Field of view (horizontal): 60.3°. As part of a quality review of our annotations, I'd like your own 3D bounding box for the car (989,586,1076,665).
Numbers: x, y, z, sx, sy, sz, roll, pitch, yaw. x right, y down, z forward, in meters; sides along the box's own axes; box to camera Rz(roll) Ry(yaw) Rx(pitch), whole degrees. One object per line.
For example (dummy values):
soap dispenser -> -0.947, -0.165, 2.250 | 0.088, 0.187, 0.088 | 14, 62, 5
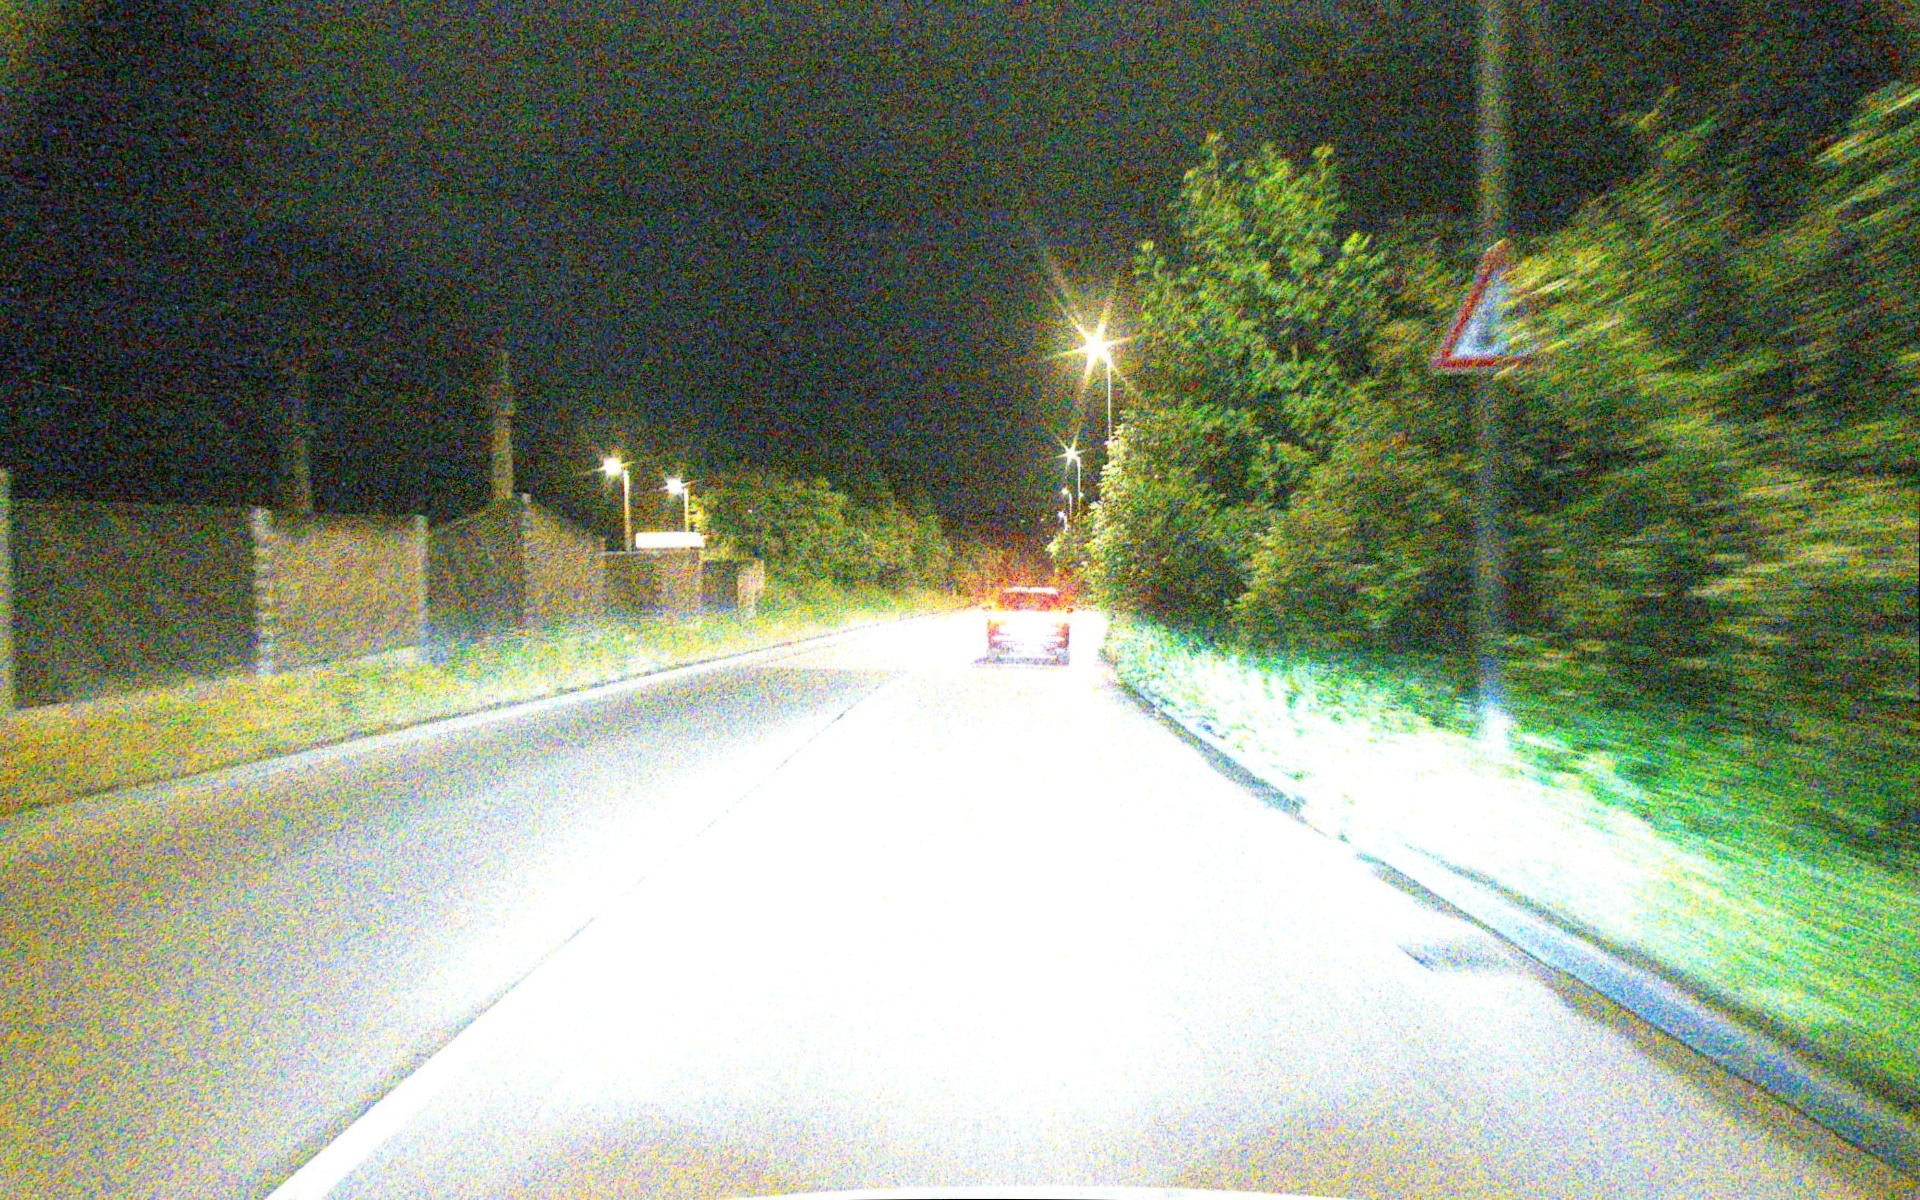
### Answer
car -> 1.593, 0.521, 36.042 | 1.777, 1.601, 3.945 | 1, 0, 3
